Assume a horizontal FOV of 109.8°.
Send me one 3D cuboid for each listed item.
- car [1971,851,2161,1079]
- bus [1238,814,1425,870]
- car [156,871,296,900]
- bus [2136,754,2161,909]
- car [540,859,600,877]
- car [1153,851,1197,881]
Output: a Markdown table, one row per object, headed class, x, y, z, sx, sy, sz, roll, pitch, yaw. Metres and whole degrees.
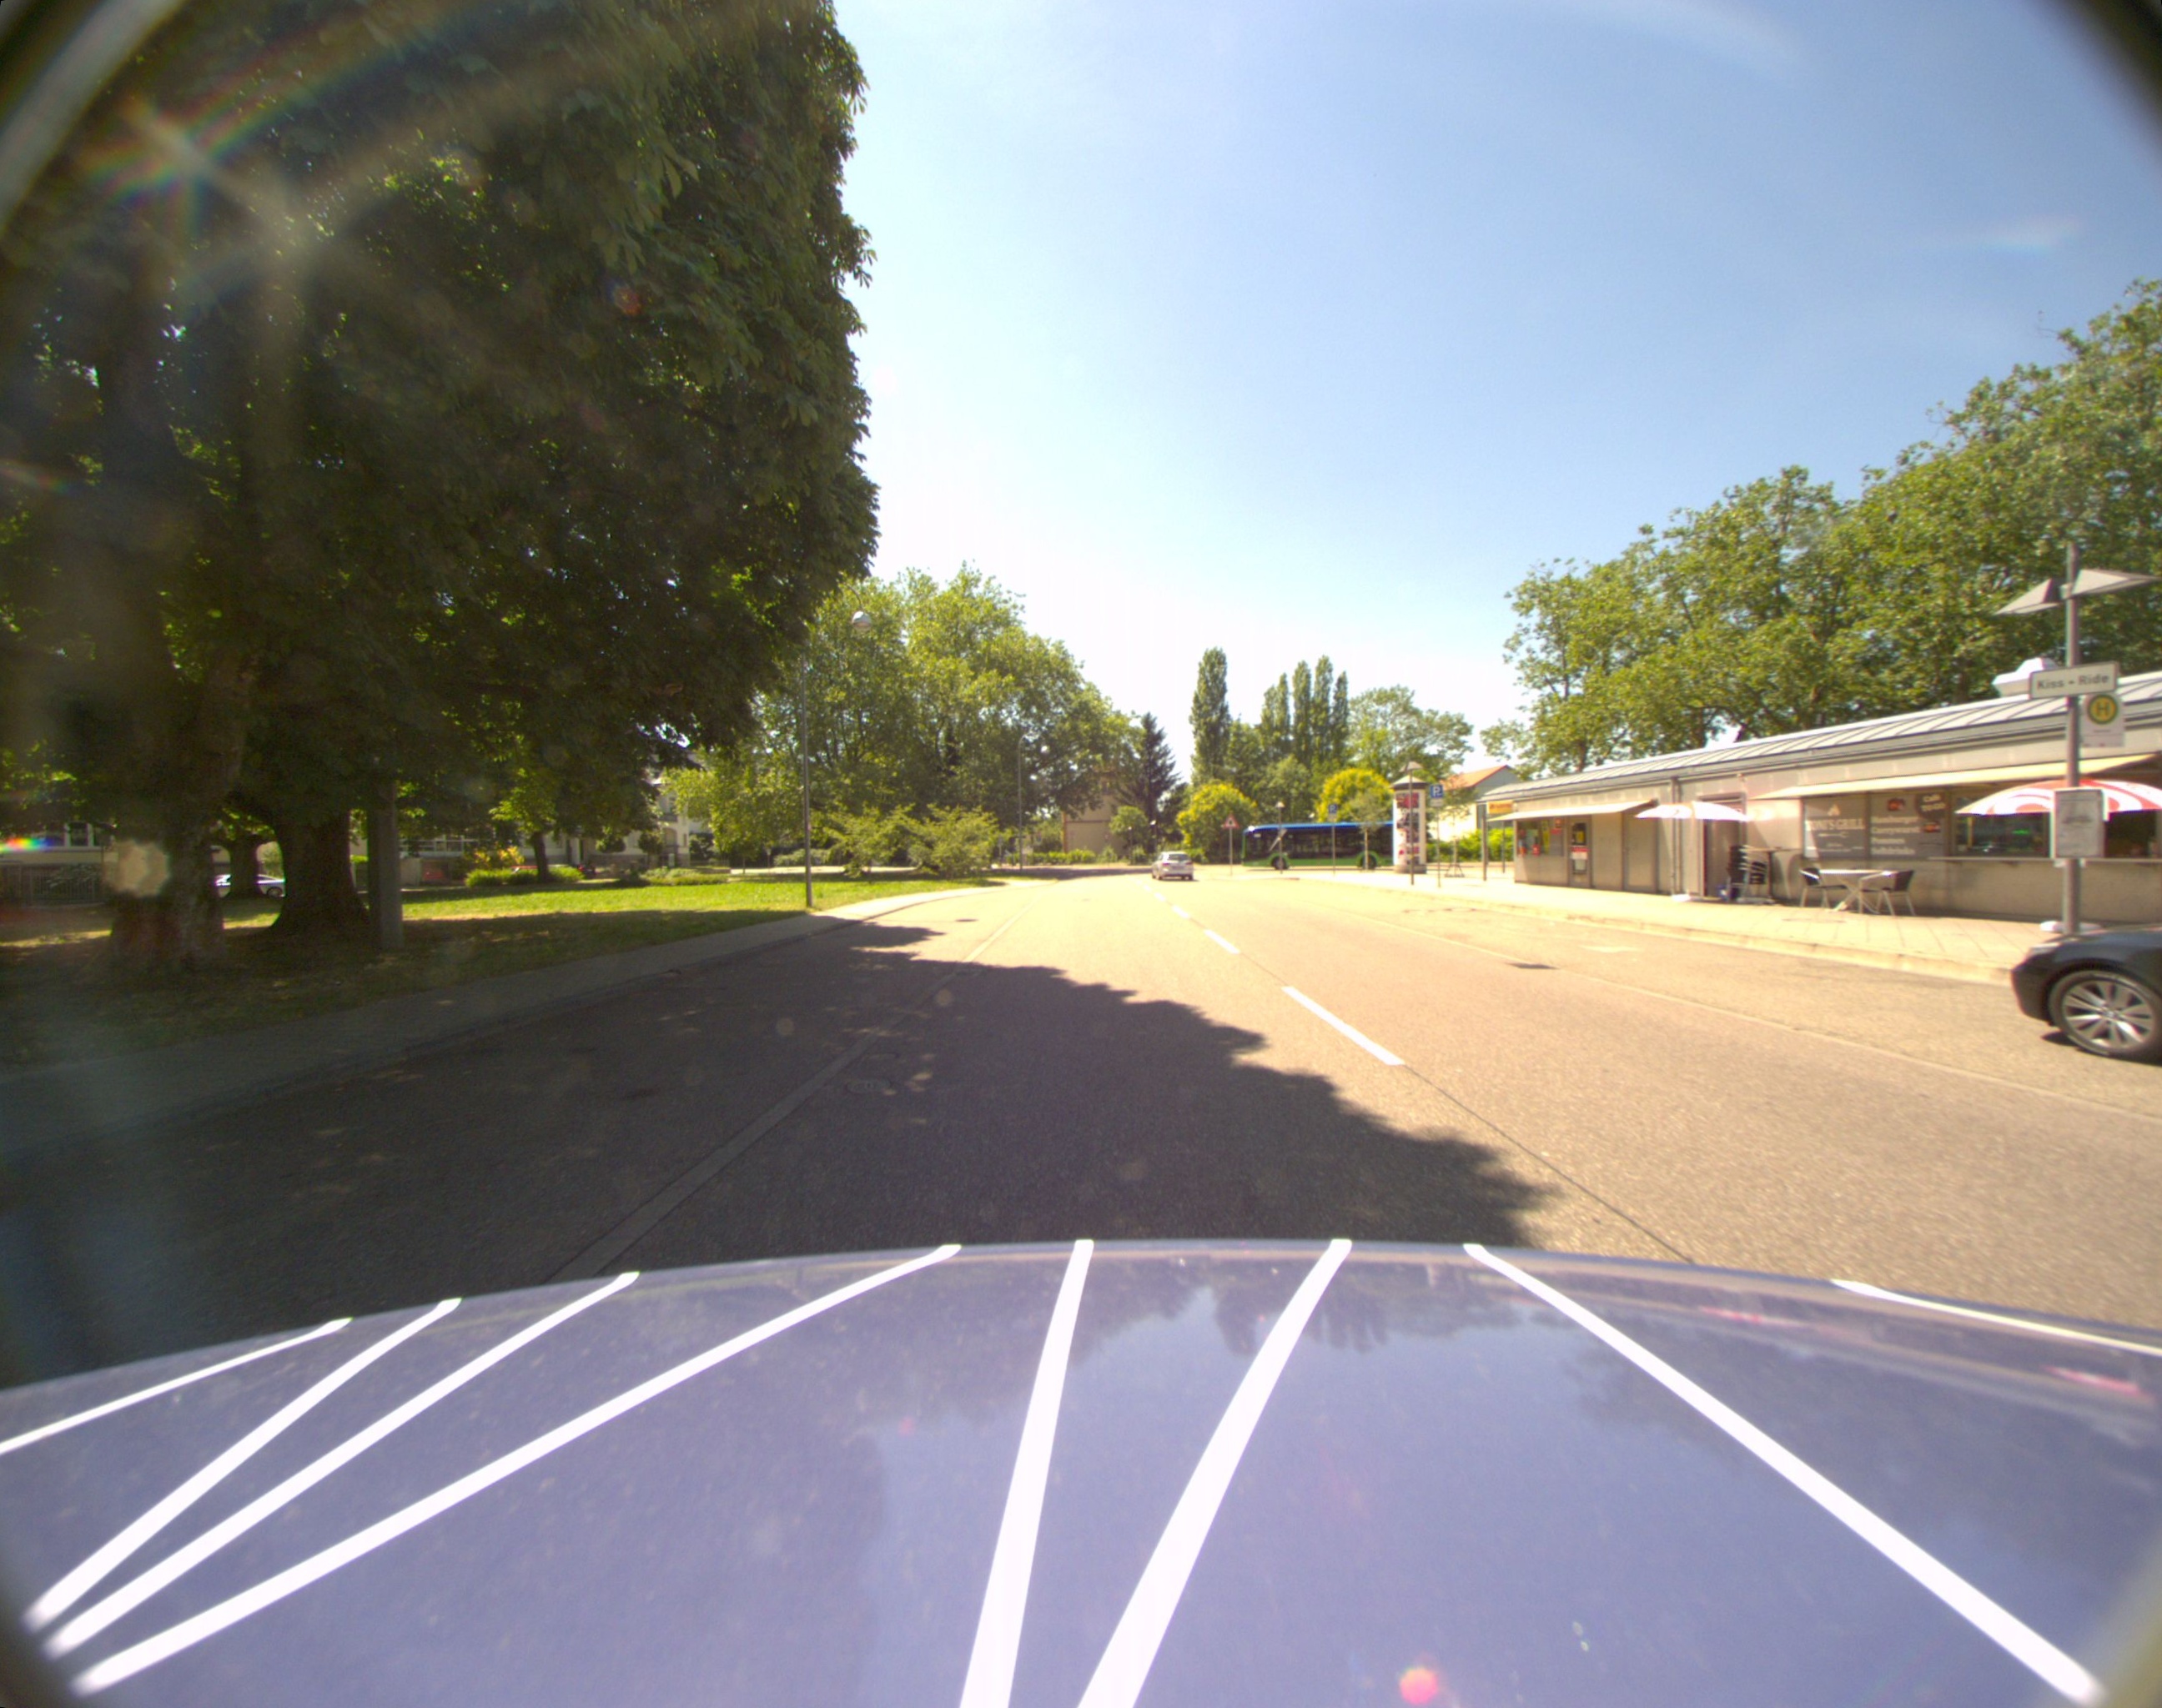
| class | x | y | z | sx | sy | sz | roll | pitch | yaw |
| --- | --- | --- | --- | --- | --- | --- | --- | --- | --- |
| car | 7.958 | 0.748 | 3.658 | 1.723 | 1.470 | 4.785 | -1 | 1 | 0 |
| bus | 17.395 | -0.753 | 53.390 | 12.192 | 3.506 | 2.173 | -1 | 1 | 26 |
| car | -46.045 | 1.654 | 41.082 | 1.667 | 1.280 | 4.719 | 0 | 2 | 16 |
| bus | 23.635 | -0.470 | 10.155 | 2.972 | 3.214 | 11.849 | -1 | 0 | 3 |
| car | -45.085 | 1.224 | 67.084 | 3.995 | 1.559 | 2.001 | -1 | 1 | 5 |
| car | 4.716 | 0.578 | 38.652 | 1.819 | 1.435 | 4.158 | -1 | 0 | 1 |
